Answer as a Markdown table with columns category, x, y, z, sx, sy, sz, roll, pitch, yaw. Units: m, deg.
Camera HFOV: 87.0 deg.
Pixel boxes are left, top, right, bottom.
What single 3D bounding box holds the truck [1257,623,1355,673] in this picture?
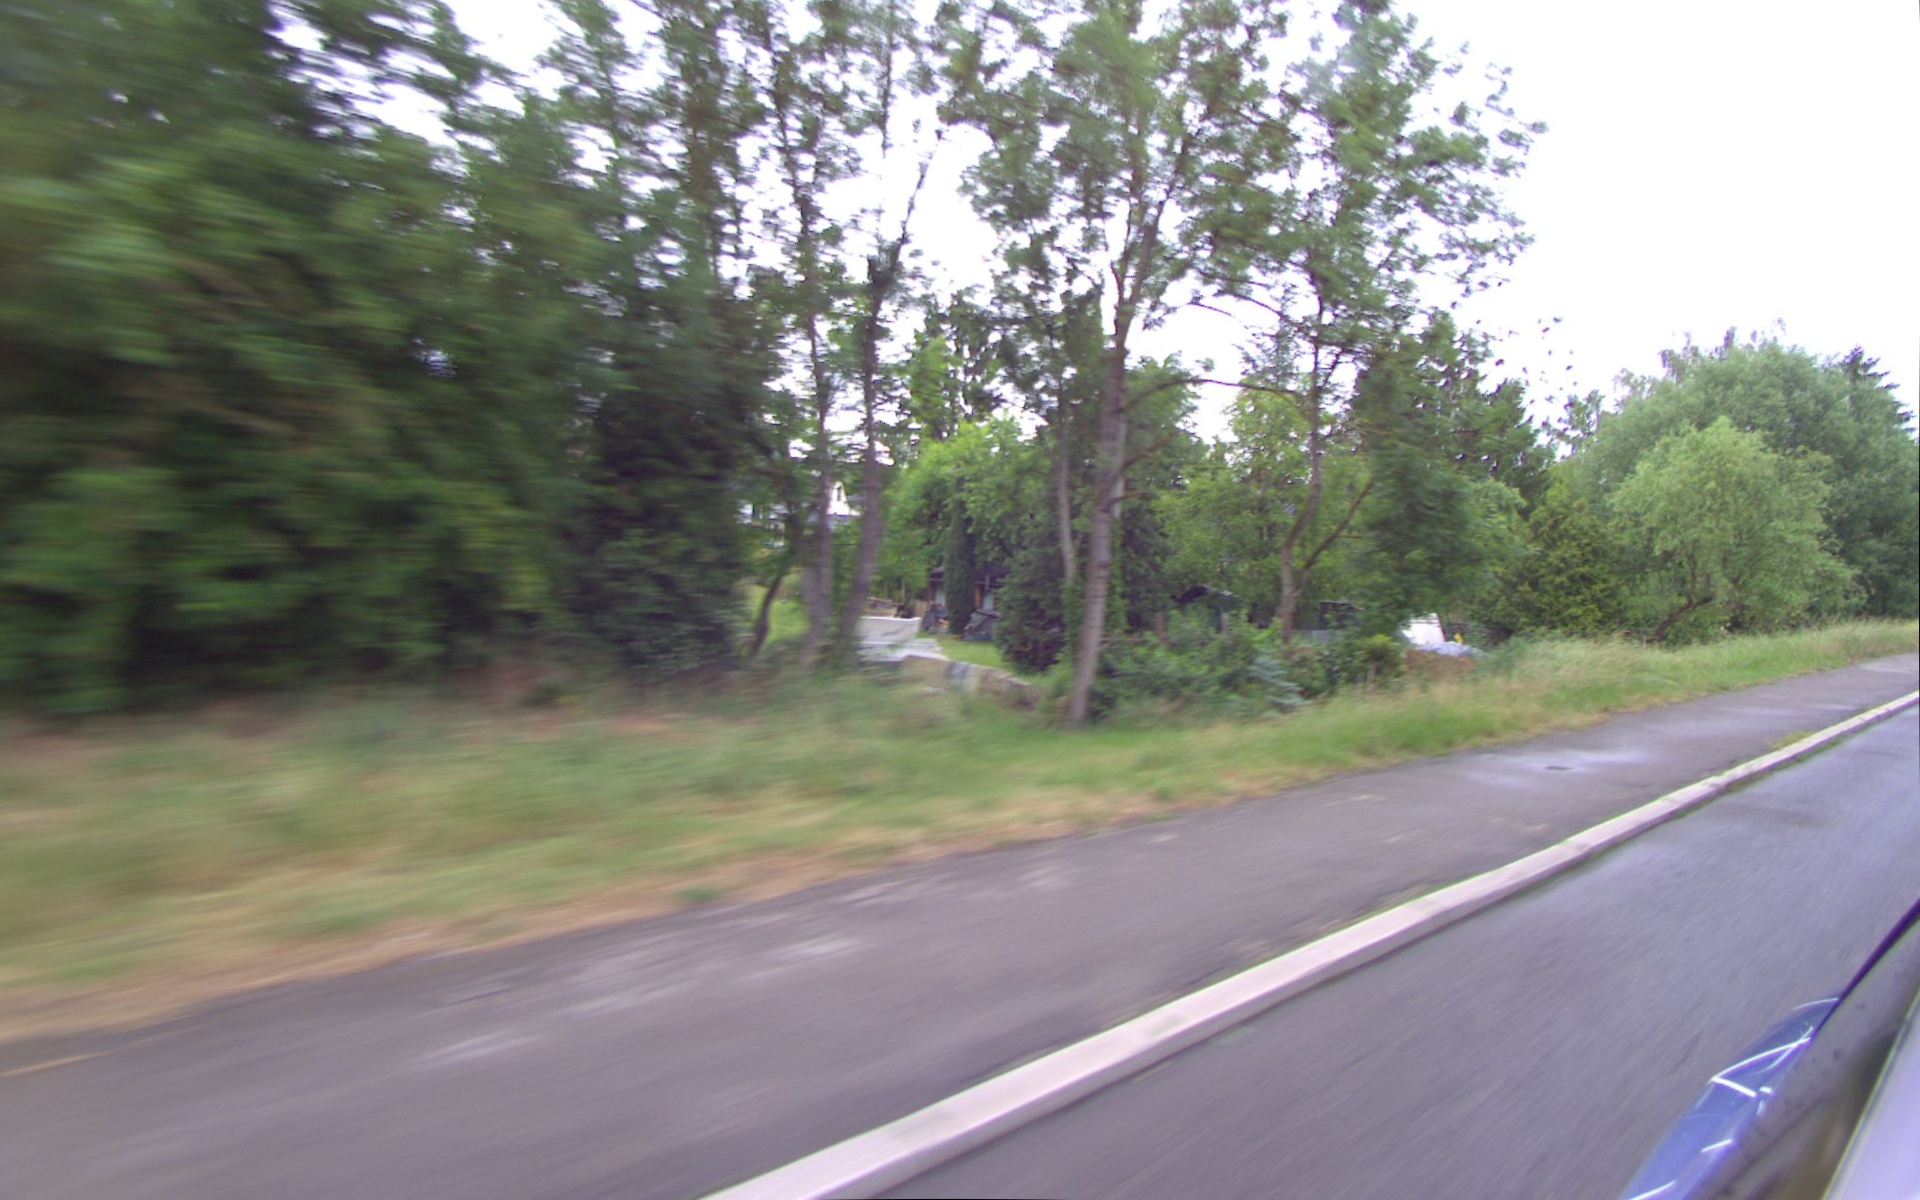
| category | x | y | z | sx | sy | sz | roll | pitch | yaw |
| --- | --- | --- | --- | --- | --- | --- | --- | --- | --- |
| truck | 10.908 | 1.492 | 31.992 | 1.723 | 1.415 | 2.364 | 1 | 1 | -28 |

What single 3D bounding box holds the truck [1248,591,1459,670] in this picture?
| category | x | y | z | sx | sy | sz | roll | pitch | yaw |
| --- | --- | --- | --- | --- | --- | --- | --- | --- | --- |
| truck | 13.369 | 0.916 | 35.058 | 2.026 | 2.388 | 7.074 | 1 | 1 | -31 |
